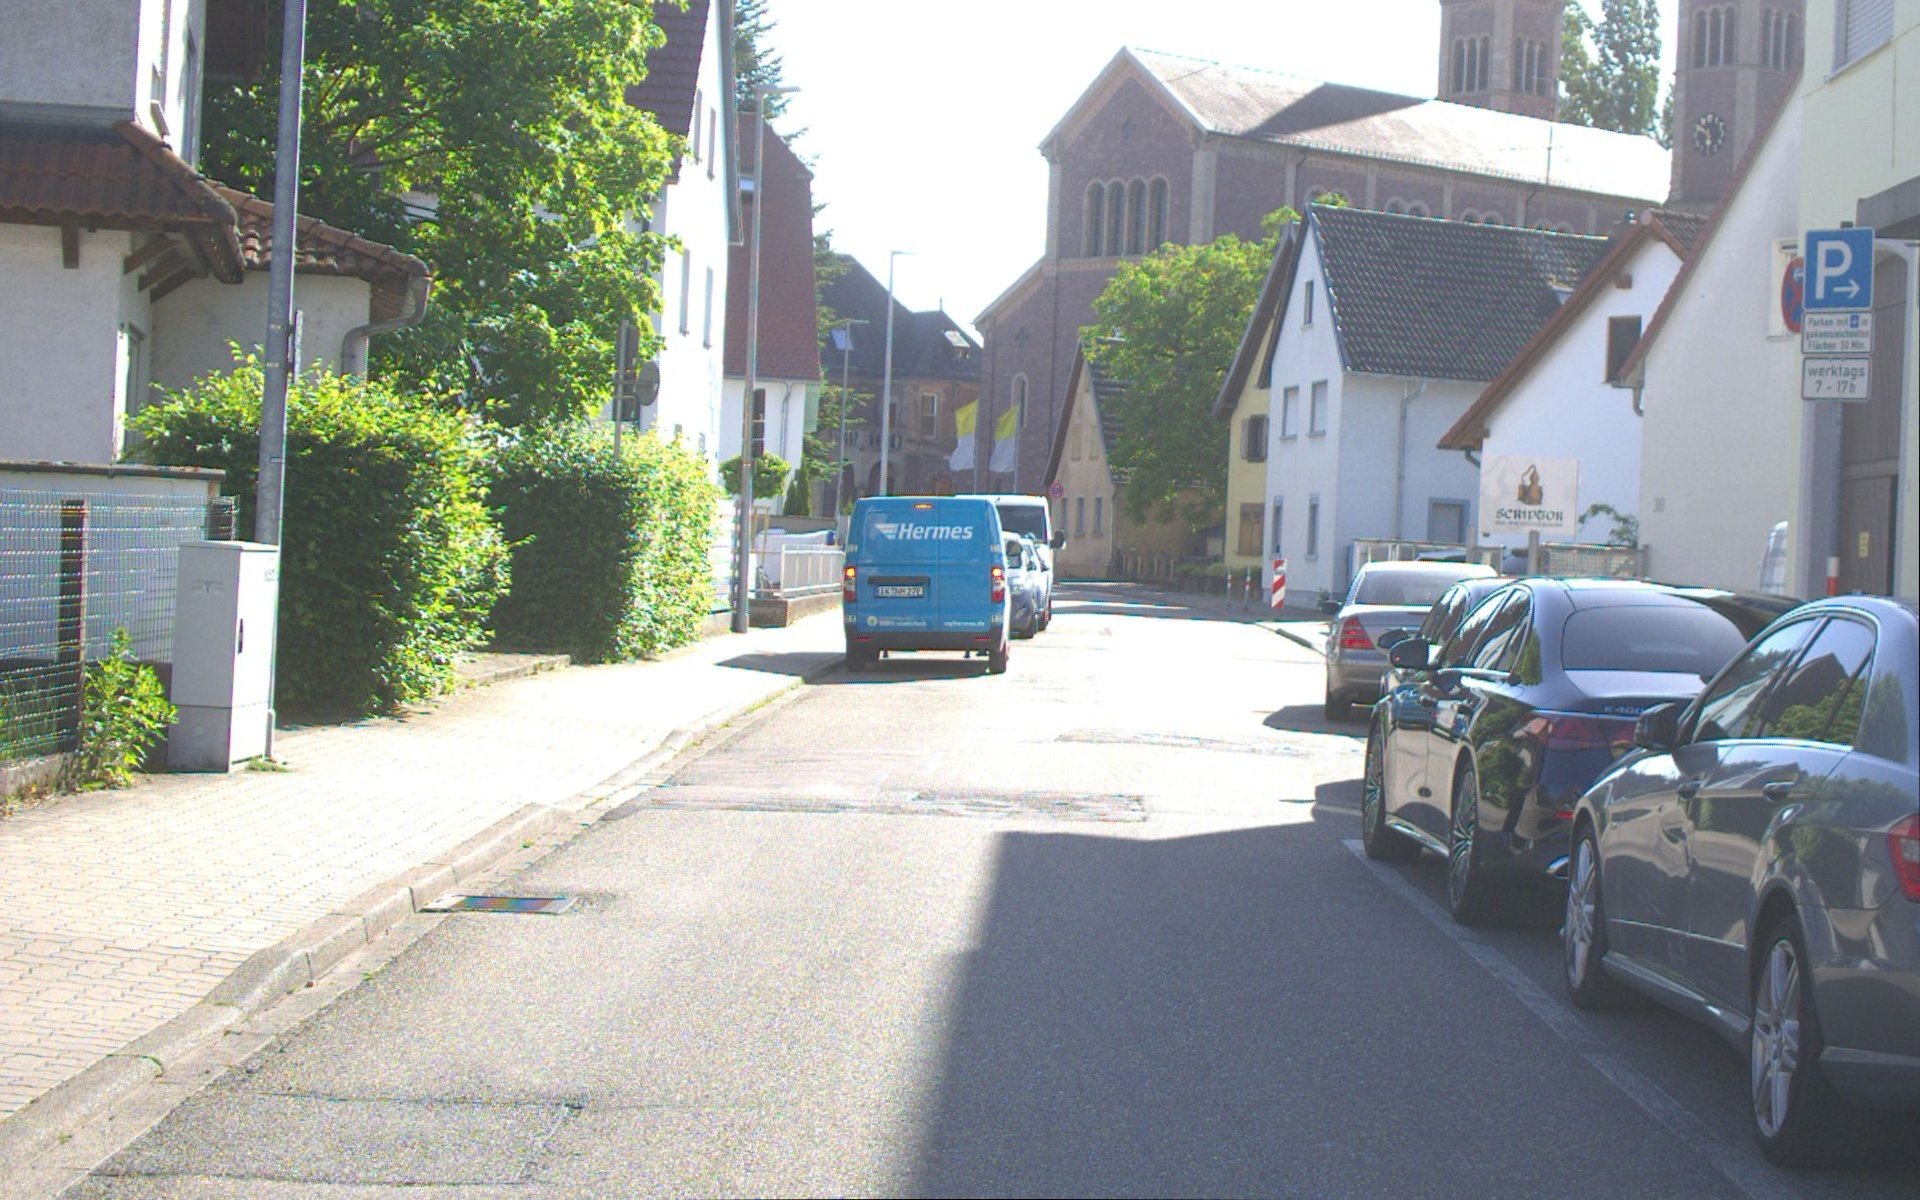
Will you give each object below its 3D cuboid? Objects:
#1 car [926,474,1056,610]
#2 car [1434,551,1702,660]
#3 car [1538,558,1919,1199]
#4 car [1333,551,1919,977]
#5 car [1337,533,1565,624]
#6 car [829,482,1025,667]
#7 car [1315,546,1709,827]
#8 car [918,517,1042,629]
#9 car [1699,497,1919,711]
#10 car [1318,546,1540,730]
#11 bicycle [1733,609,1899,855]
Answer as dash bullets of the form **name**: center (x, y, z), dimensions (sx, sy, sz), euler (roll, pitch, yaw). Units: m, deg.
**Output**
- **car**: center (0.630, -1.099, 63.772), dimensions (2.197, 2.381, 6.064), euler (1, 1, 2)
- **car**: center (10.289, 0.093, 58.186), dimensions (4.035, 1.682, 1.912), euler (1, 2, -26)
- **car**: center (2.924, 0.706, 9.624), dimensions (1.808, 1.470, 4.444), euler (4, 1, 1)
- **car**: center (2.862, 0.588, 15.234), dimensions (1.808, 1.470, 4.844), euler (4, 1, 0)
- **car**: center (8.841, -0.397, 61.817), dimensions (3.914, 1.487, 1.846), euler (2, 1, 11)
- **car**: center (-0.302, -0.332, 39.024), dimensions (1.902, 1.911, 5.070), euler (2, 1, 2)
- **car**: center (3.457, 0.462, 22.393), dimensions (1.808, 1.470, 4.844), euler (4, 1, 1)
- **car**: center (0.332, -0.445, 52.238), dimensions (1.715, 1.593, 3.925), euler (2, 1, 2)
- **car**: center (9.364, 0.015, 31.355), dimensions (4.761, 1.880, 1.909), euler (0, 2, -5)
- **car**: center (4.304, 0.291, 32.044), dimensions (1.812, 1.470, 4.659), euler (4, 1, 6)
- **bicycle**: center (4.374, 0.653, 17.637), dimensions (0.508, 1.153, 1.507), euler (2, 1, 3)
